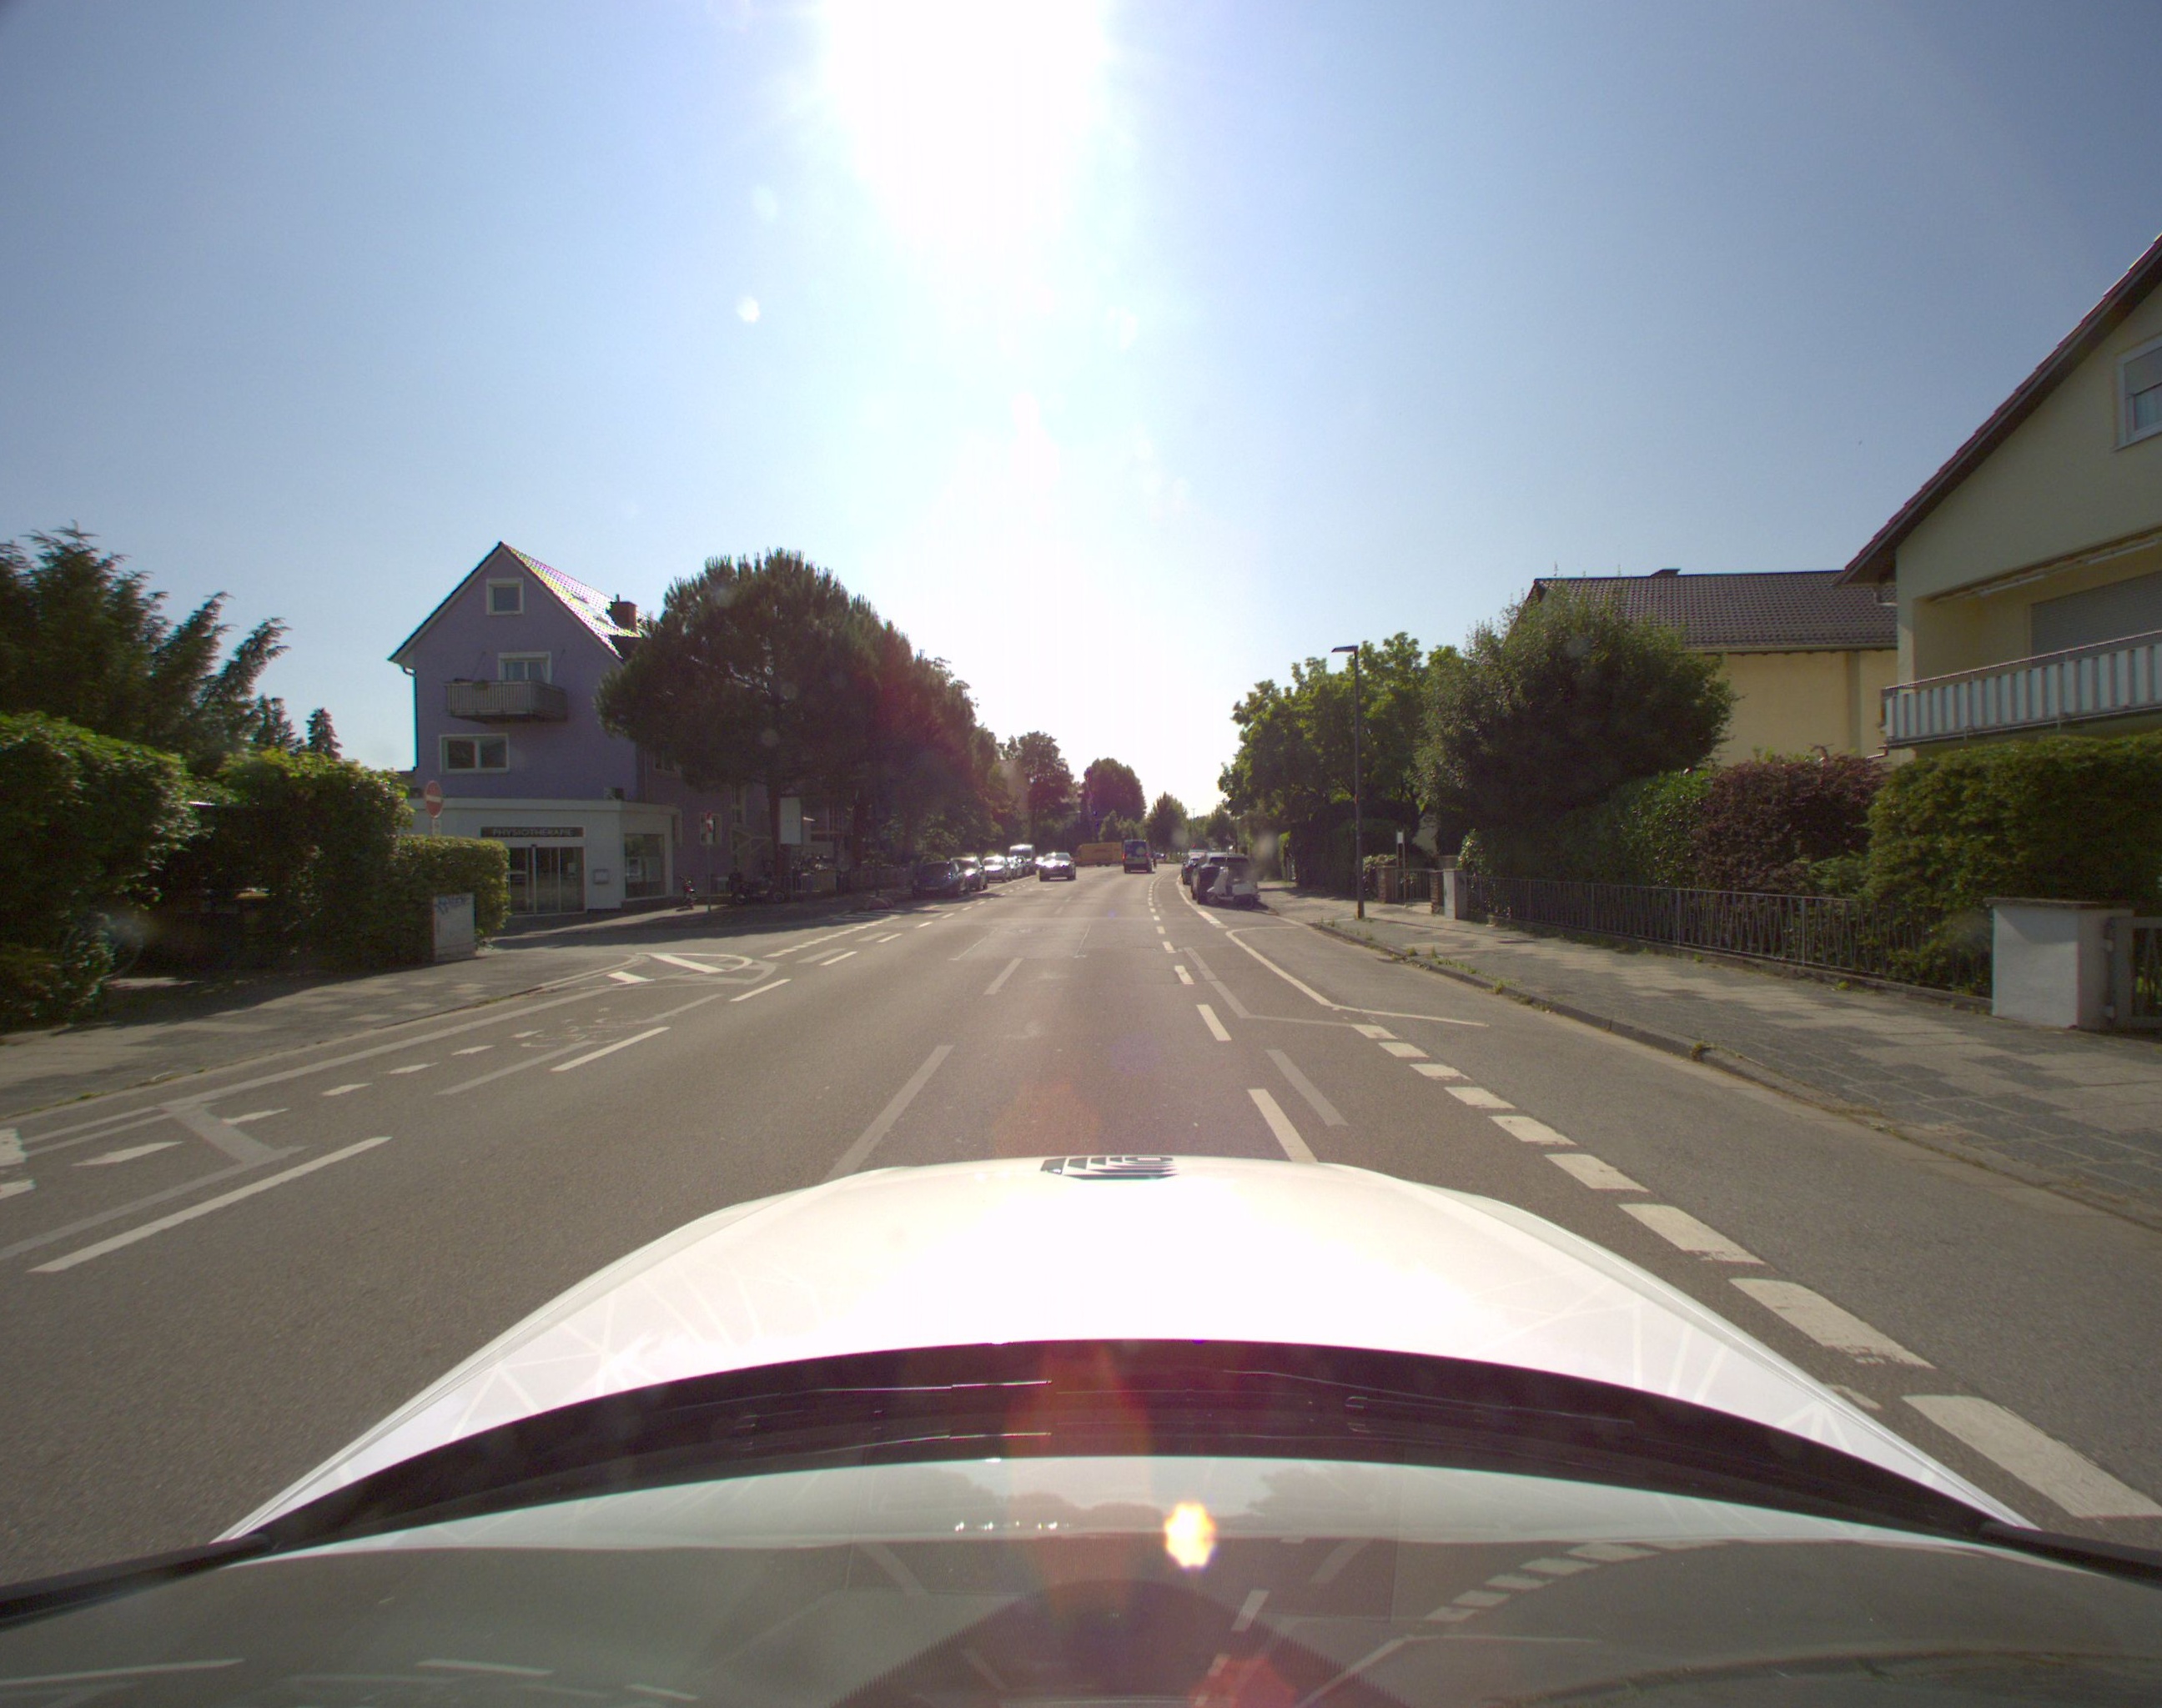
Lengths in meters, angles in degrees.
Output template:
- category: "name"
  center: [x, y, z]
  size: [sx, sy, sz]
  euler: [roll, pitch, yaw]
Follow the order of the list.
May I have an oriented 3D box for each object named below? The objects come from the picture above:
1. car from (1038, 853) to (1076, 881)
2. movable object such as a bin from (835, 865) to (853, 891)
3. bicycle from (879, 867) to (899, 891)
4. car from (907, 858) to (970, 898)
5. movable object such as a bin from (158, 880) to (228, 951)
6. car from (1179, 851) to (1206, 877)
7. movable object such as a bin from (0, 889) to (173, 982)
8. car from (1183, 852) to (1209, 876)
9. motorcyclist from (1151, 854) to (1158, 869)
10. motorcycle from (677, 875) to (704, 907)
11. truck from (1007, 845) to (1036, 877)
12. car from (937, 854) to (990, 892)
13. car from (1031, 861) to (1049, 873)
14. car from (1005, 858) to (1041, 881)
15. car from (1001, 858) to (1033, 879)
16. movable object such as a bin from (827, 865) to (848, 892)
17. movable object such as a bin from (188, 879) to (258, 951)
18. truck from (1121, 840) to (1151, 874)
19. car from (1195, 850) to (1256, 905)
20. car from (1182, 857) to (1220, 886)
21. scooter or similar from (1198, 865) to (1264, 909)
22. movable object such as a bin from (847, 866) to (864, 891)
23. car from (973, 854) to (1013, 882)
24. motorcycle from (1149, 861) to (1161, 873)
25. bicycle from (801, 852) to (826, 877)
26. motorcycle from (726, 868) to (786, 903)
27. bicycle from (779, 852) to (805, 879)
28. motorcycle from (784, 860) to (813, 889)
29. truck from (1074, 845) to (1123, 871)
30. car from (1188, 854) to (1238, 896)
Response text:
- category: "car"
  center: [-1.448, 0.796, 50.422]
  size: [1.986, 1.657, 4.607]
  euler: [-1, 0, 2]
- category: "movable object such as a bin"
  center: [-10.086, 1.010, 34.625]
  size: [0.602, 1.111, 0.432]
  euler: [-1, -1, 7]
- category: "bicycle"
  center: [-9.379, 1.193, 39.817]
  size: [0.371, 1.146, 1.979]
  euler: [-1, -1, 4]
- category: "car"
  center: [-5.735, 0.928, 33.264]
  size: [1.775, 1.460, 4.086]
  euler: [-2, 0, 1]
- category: "movable object such as a bin"
  center: [-12.780, 0.871, 11.728]
  size: [0.479, 0.990, 0.531]
  euler: [-1, -1, 22]
- category: "car"
  center: [7.685, 0.675, 55.799]
  size: [1.690, 1.677, 3.784]
  euler: [-1, 0, 9]
- category: "movable object such as a bin"
  center: [-12.327, 0.957, 9.940]
  size: [0.317, 0.990, 1.877]
  euler: [0, -1, 2]
- category: "car"
  center: [8.571, 0.738, 61.044]
  size: [1.692, 1.677, 3.779]
  euler: [-1, -1, 4]
- category: "motorcyclist"
  center: [7.326, 0.746, 81.017]
  size: [0.669, 1.519, 0.652]
  euler: [-1, -1, 1]
- category: "motorcycle"
  center: [-13.314, 1.224, 27.799]
  size: [0.643, 0.991, 2.339]
  euler: [-1, 0, -22]
- category: "truck"
  center: [-4.842, 0.570, 67.109]
  size: [2.075, 2.537, 5.464]
  euler: [-1, 0, -1]
- category: "car"
  center: [-5.560, 0.875, 38.980]
  size: [1.903, 1.677, 4.257]
  euler: [-2, 0, -1]
- category: "car"
  center: [-4.424, 1.405, 88.847]
  size: [1.749, 1.343, 3.653]
  euler: [-1, 0, 0]
- category: "car"
  center: [-3.977, 1.019, 56.245]
  size: [1.826, 1.496, 3.659]
  euler: [-1, 0, 5]
- category: "car"
  center: [-4.757, 1.055, 61.155]
  size: [1.746, 1.496, 3.659]
  euler: [-1, -1, 5]
- category: "movable object such as a bin"
  center: [-10.172, 1.007, 34.049]
  size: [0.602, 1.111, 0.664]
  euler: [-1, -1, 7]
- category: "movable object such as a bin"
  center: [-12.217, 0.852, 11.598]
  size: [0.479, 0.990, 0.531]
  euler: [-1, -1, 22]
- category: "truck"
  center: [4.455, 0.264, 65.747]
  size: [2.262, 2.571, 4.397]
  euler: [-1, -1, 4]
- category: "car"
  center: [4.663, 0.725, 26.655]
  size: [1.775, 1.638, 4.480]
  euler: [1, 0, 8]
- category: "car"
  center: [6.107, 0.881, 41.746]
  size: [1.775, 1.399, 4.331]
  euler: [1, -1, 6]
- category: "scooter or similar"
  center: [4.366, 0.947, 23.777]
  size: [0.724, 1.154, 1.775]
  euler: [3, -1, -44]
- category: "movable object such as a bin"
  center: [-9.954, 1.077, 35.916]
  size: [0.541, 1.111, 0.586]
  euler: [-1, -1, 7]
- category: "car"
  center: [-5.367, 0.874, 49.935]
  size: [1.827, 1.595, 3.777]
  euler: [-1, -1, 3]
- category: "motorcycle"
  center: [7.370, 1.291, 81.094]
  size: [1.052, 1.122, 2.993]
  euler: [-1, -1, 2]
- category: "bicycle"
  center: [-12.837, 0.516, 39.124]
  size: [0.534, 1.182, 1.449]
  euler: [-1, -1, 7]
- category: "motorcycle"
  center: [-11.396, 1.109, 28.568]
  size: [1.830, 1.182, 0.644]
  euler: [-1, -1, 6]
- category: "bicycle"
  center: [-13.777, 0.540, 38.809]
  size: [0.534, 1.181, 1.449]
  euler: [-1, 1, 7]
- category: "motorcycle"
  center: [-11.760, 0.833, 33.886]
  size: [0.534, 1.182, 1.449]
  euler: [-1, -1, 7]
- category: "truck"
  center: [2.083, 0.508, 97.692]
  size: [5.612, 2.946, 2.235]
  euler: [-2, -1, 37]
- category: "car"
  center: [5.196, 0.803, 32.506]
  size: [1.701, 1.514, 3.907]
  euler: [1, 0, 5]
